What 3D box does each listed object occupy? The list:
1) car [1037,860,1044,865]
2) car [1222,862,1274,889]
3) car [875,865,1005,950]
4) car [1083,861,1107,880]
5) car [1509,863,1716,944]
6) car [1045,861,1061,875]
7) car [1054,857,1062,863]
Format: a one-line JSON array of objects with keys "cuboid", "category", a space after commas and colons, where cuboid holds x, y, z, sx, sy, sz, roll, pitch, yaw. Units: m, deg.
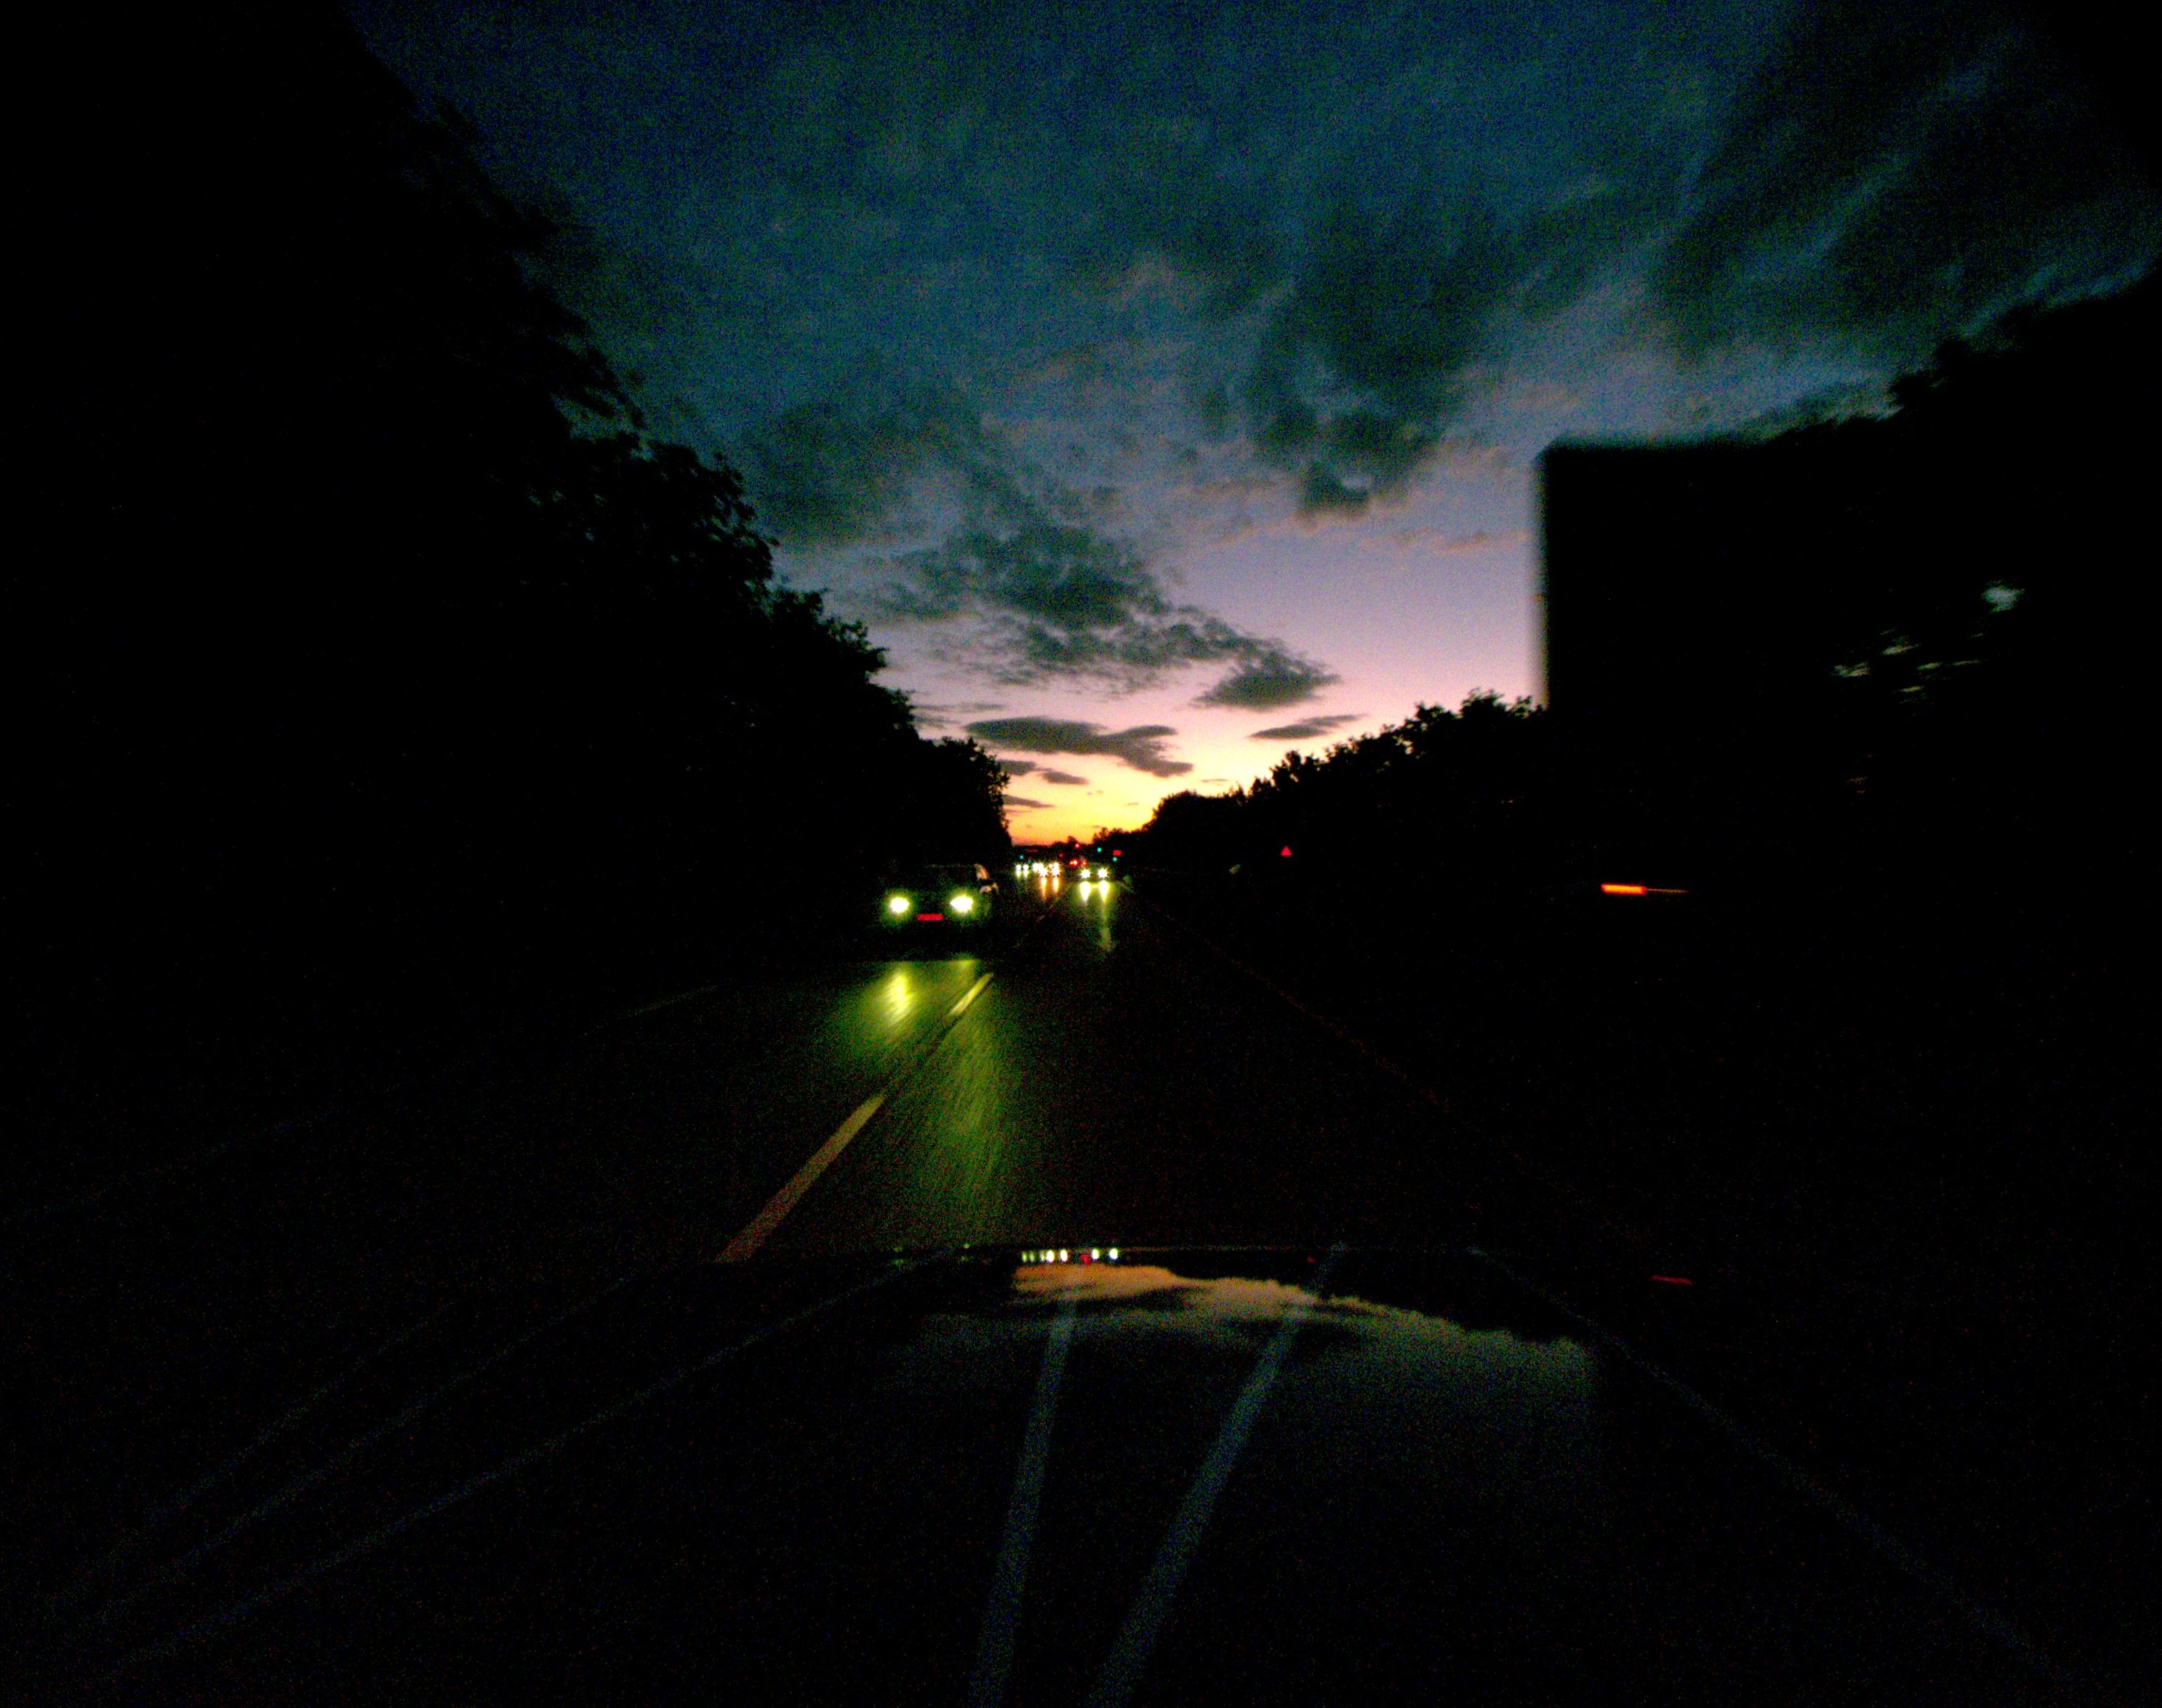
[{"cuboid": [-11.717, 2.369, 218.719, 1.999, 1.423, 4.501, 0, 0, -1], "category": "car"}, {"cuboid": [9.528, 1.184, 43.699, 1.926, 1.423, 4.501, 0, 0, -1], "category": "car"}, {"cuboid": [-3.016, 1.091, 17.361, 1.998, 1.600, 4.712, -2, 0, 0], "category": "car"}, {"cuboid": [1.135, 1.325, 63.463, 1.901, 1.472, 4.514, -2, 0, 0], "category": "car"}, {"cuboid": [12.643, 1.075, 18.504, 1.799, 1.661, 4.501, -1, 0, -1], "category": "car"}, {"cuboid": [-3.080, 1.519, 84.384, 1.624, 1.460, 3.871, -2, 0, 0], "category": "car"}, {"cuboid": [-5.993, 1.631, 200.417, 1.999, 1.602, 4.501, -1, 0, -1], "category": "car"}]
